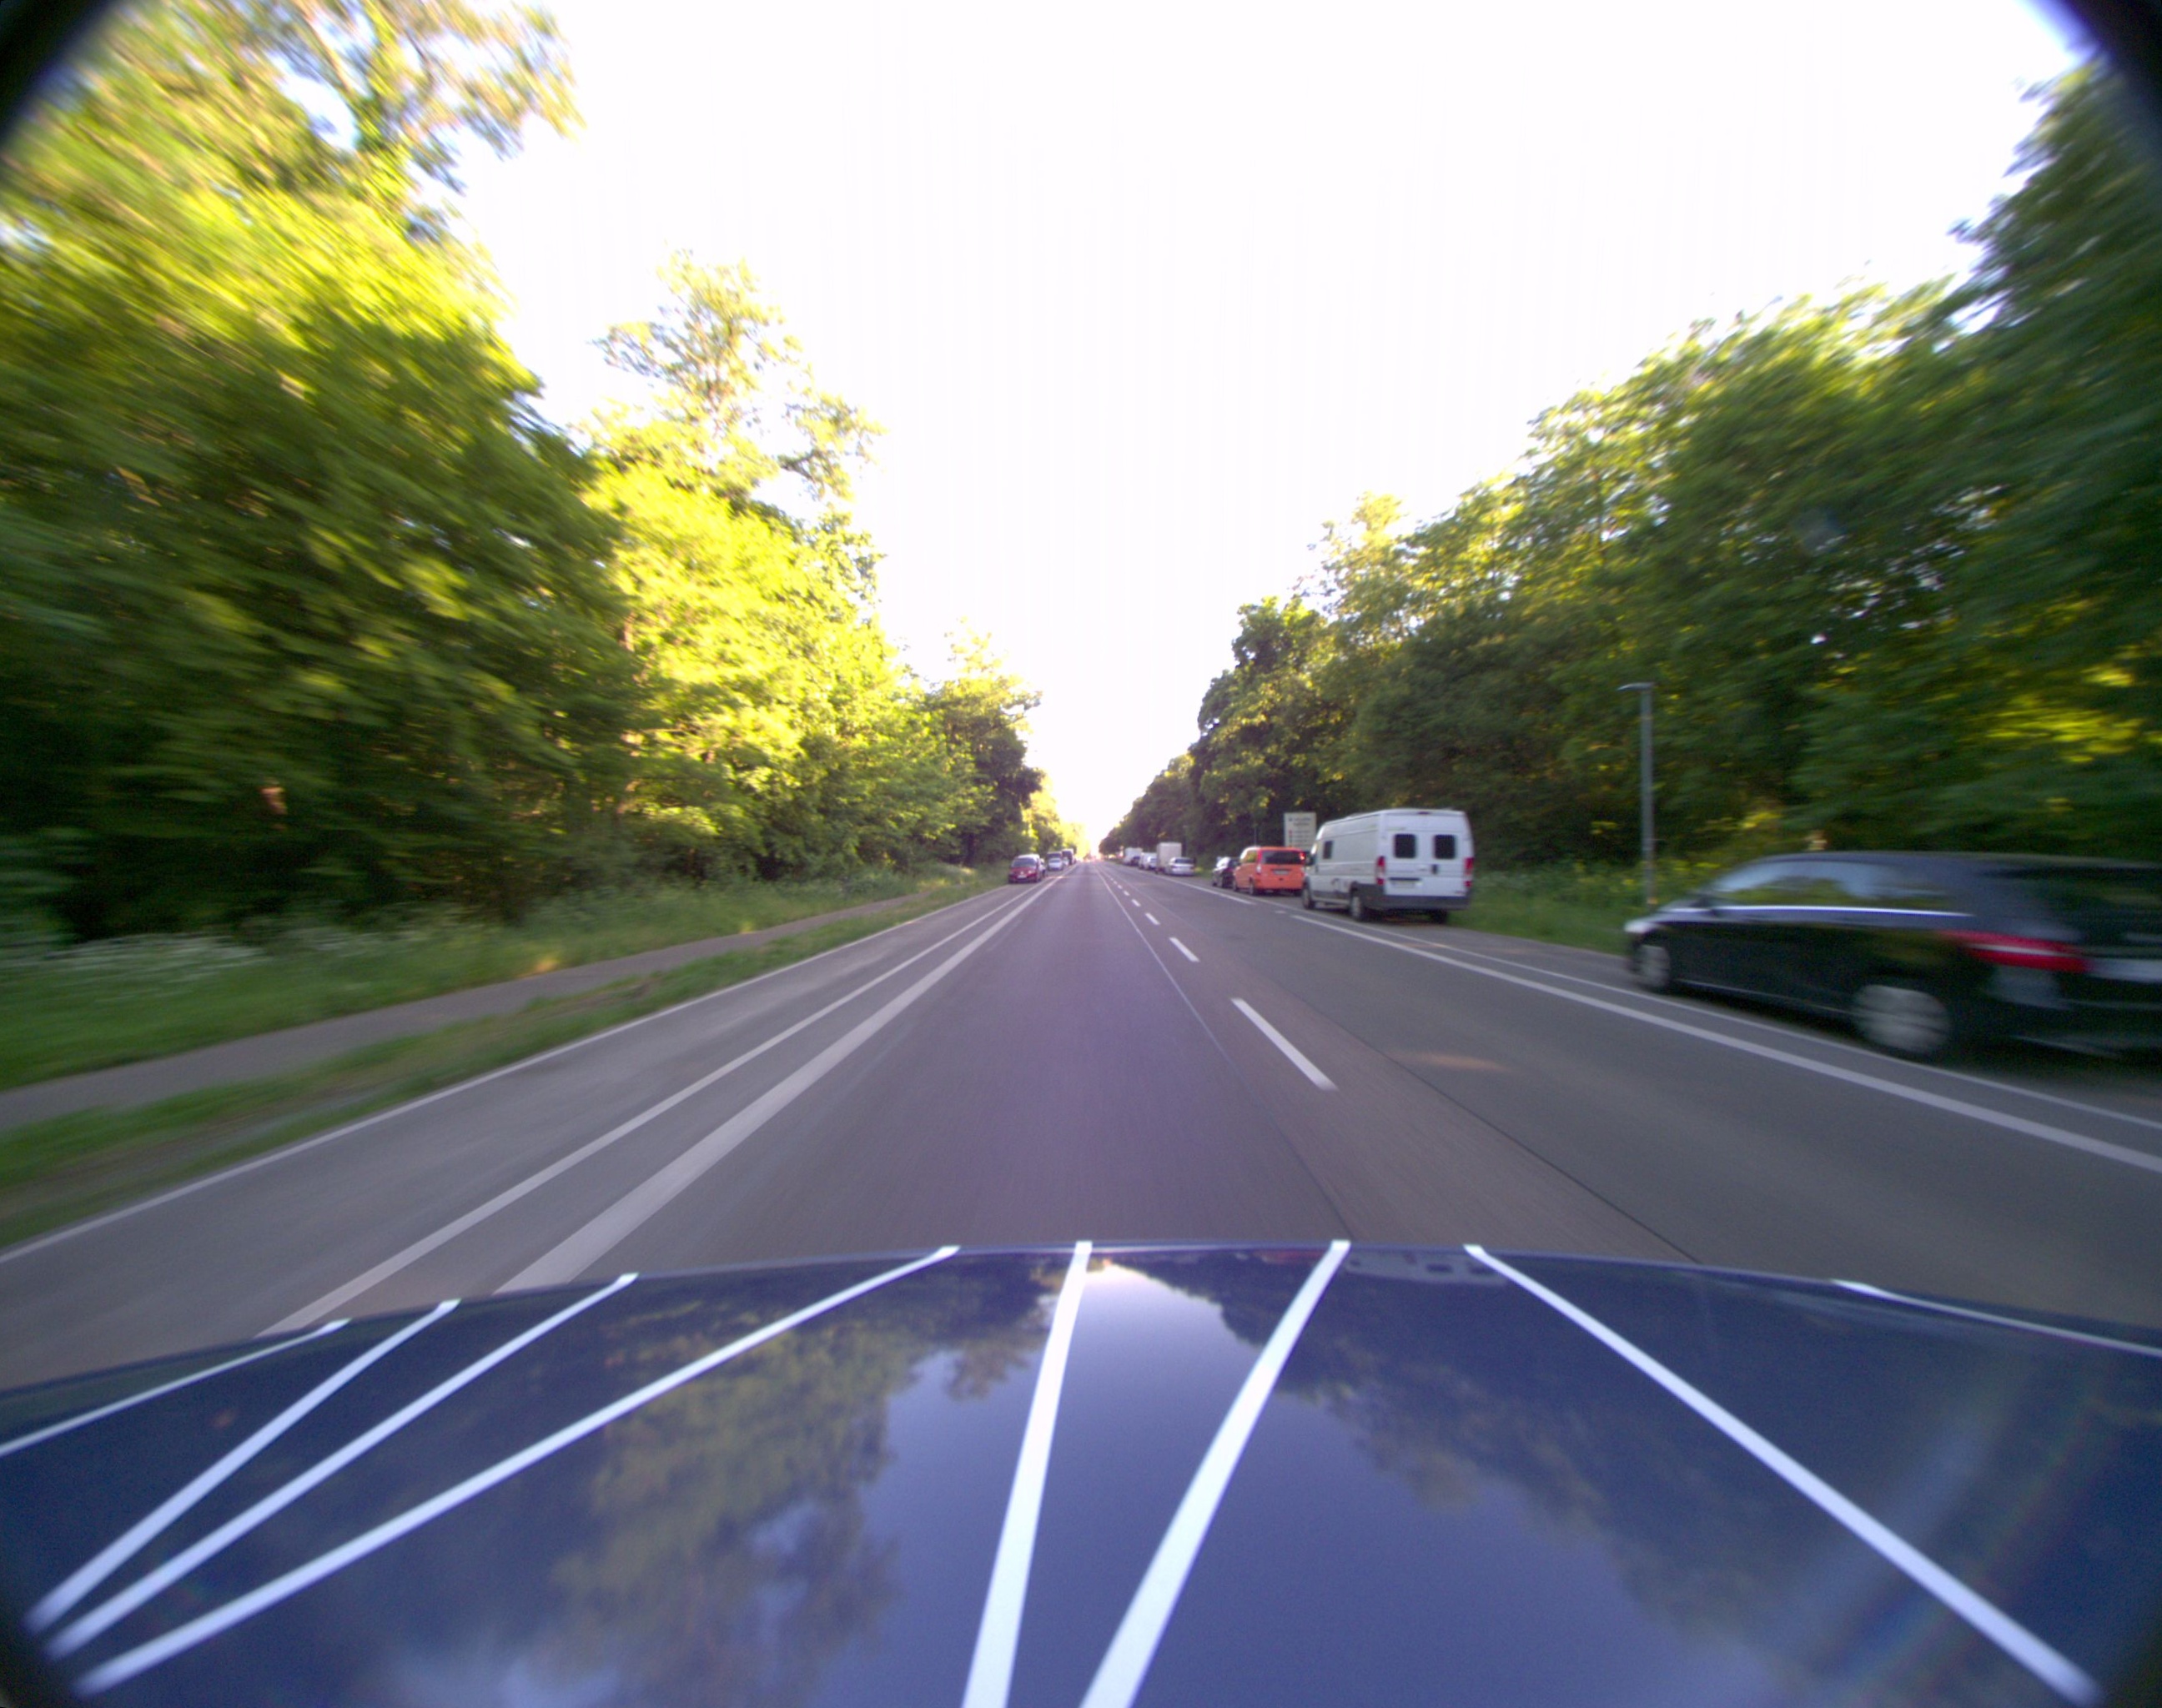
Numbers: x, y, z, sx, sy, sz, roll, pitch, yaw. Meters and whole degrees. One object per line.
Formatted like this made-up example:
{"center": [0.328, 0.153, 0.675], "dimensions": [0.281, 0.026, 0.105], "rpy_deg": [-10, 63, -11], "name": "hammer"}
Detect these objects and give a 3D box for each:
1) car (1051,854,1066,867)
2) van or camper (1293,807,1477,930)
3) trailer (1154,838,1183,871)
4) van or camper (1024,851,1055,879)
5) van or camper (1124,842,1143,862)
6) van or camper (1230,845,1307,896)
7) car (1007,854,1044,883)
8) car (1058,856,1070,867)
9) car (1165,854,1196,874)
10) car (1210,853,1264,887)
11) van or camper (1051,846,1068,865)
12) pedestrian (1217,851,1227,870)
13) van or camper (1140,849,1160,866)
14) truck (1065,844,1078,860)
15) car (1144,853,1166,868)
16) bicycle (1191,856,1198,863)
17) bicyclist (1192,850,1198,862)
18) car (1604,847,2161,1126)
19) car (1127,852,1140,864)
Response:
{"center": [-2.720, 0.793, 92.576], "dimensions": [1.752, 1.506, 3.999], "rpy_deg": [0, 0, -1], "name": "car"}
{"center": [7.291, 0.303, 19.197], "dimensions": [2.126, 2.557, 6.542], "rpy_deg": [-1, 0, 1], "name": "van or camper"}
{"center": [7.305, 0.043, 63.740], "dimensions": [1.998, 2.582, 4.415], "rpy_deg": [1, 0, 1], "name": "trailer"}
{"center": [-2.898, 0.730, 53.624], "dimensions": [1.956, 1.805, 4.379], "rpy_deg": [-2, 0, -2], "name": "van or camper"}
{"center": [8.287, -0.299, 120.658], "dimensions": [2.321, 2.952, 7.109], "rpy_deg": [1, 0, -2], "name": "van or camper"}
{"center": [7.300, 0.602, 30.049], "dimensions": [1.927, 1.856, 4.863], "rpy_deg": [0, 0, 1], "name": "van or camper"}
{"center": [-3.451, 0.849, 47.825], "dimensions": [1.839, 1.651, 4.338], "rpy_deg": [-3, 0, 1], "name": "car"}
{"center": [-2.684, 1.141, 120.692], "dimensions": [1.716, 1.536, 4.022], "rpy_deg": [-3, 0, 2], "name": "car"}
{"center": [7.412, 0.699, 56.968], "dimensions": [1.802, 1.445, 4.625], "rpy_deg": [0, 0, 1], "name": "car"}
{"center": [7.299, 0.718, 35.967], "dimensions": [1.736, 1.469, 4.324], "rpy_deg": [0, 0, 1], "name": "car"}
{"center": [-2.756, 0.198, 99.725], "dimensions": [2.040, 2.298, 6.040], "rpy_deg": [-1, 0, 0], "name": "van or camper"}
{"center": [11.970, 0.562, 64.661], "dimensions": [0.716, 1.558, 0.700], "rpy_deg": [-2, 1, 1], "name": "pedestrian"}
{"center": [7.798, 0.364, 85.793], "dimensions": [1.840, 1.900, 4.855], "rpy_deg": [0, 0, 0], "name": "van or camper"}
{"center": [-2.087, -0.397, 173.418], "dimensions": [2.840, 3.477, 8.577], "rpy_deg": [-1, 0, 0], "name": "truck"}
{"center": [7.631, 0.629, 78.774], "dimensions": [1.779, 1.531, 4.524], "rpy_deg": [0, 0, 0], "name": "car"}
{"center": [11.930, 0.594, 79.744], "dimensions": [0.523, 0.708, 1.487], "rpy_deg": [-2, 0, 1], "name": "bicycle"}
{"center": [11.915, 0.199, 79.662], "dimensions": [0.488, 1.228, 0.974], "rpy_deg": [-2, 1, 1], "name": "bicyclist"}
{"center": [6.886, 0.787, 6.721], "dimensions": [1.785, 1.674, 4.379], "rpy_deg": [0, 0, 5], "name": "car"}
{"center": [7.667, 0.569, 111.792], "dimensions": [1.650, 1.622, 4.273], "rpy_deg": [1, 0, 1], "name": "car"}
